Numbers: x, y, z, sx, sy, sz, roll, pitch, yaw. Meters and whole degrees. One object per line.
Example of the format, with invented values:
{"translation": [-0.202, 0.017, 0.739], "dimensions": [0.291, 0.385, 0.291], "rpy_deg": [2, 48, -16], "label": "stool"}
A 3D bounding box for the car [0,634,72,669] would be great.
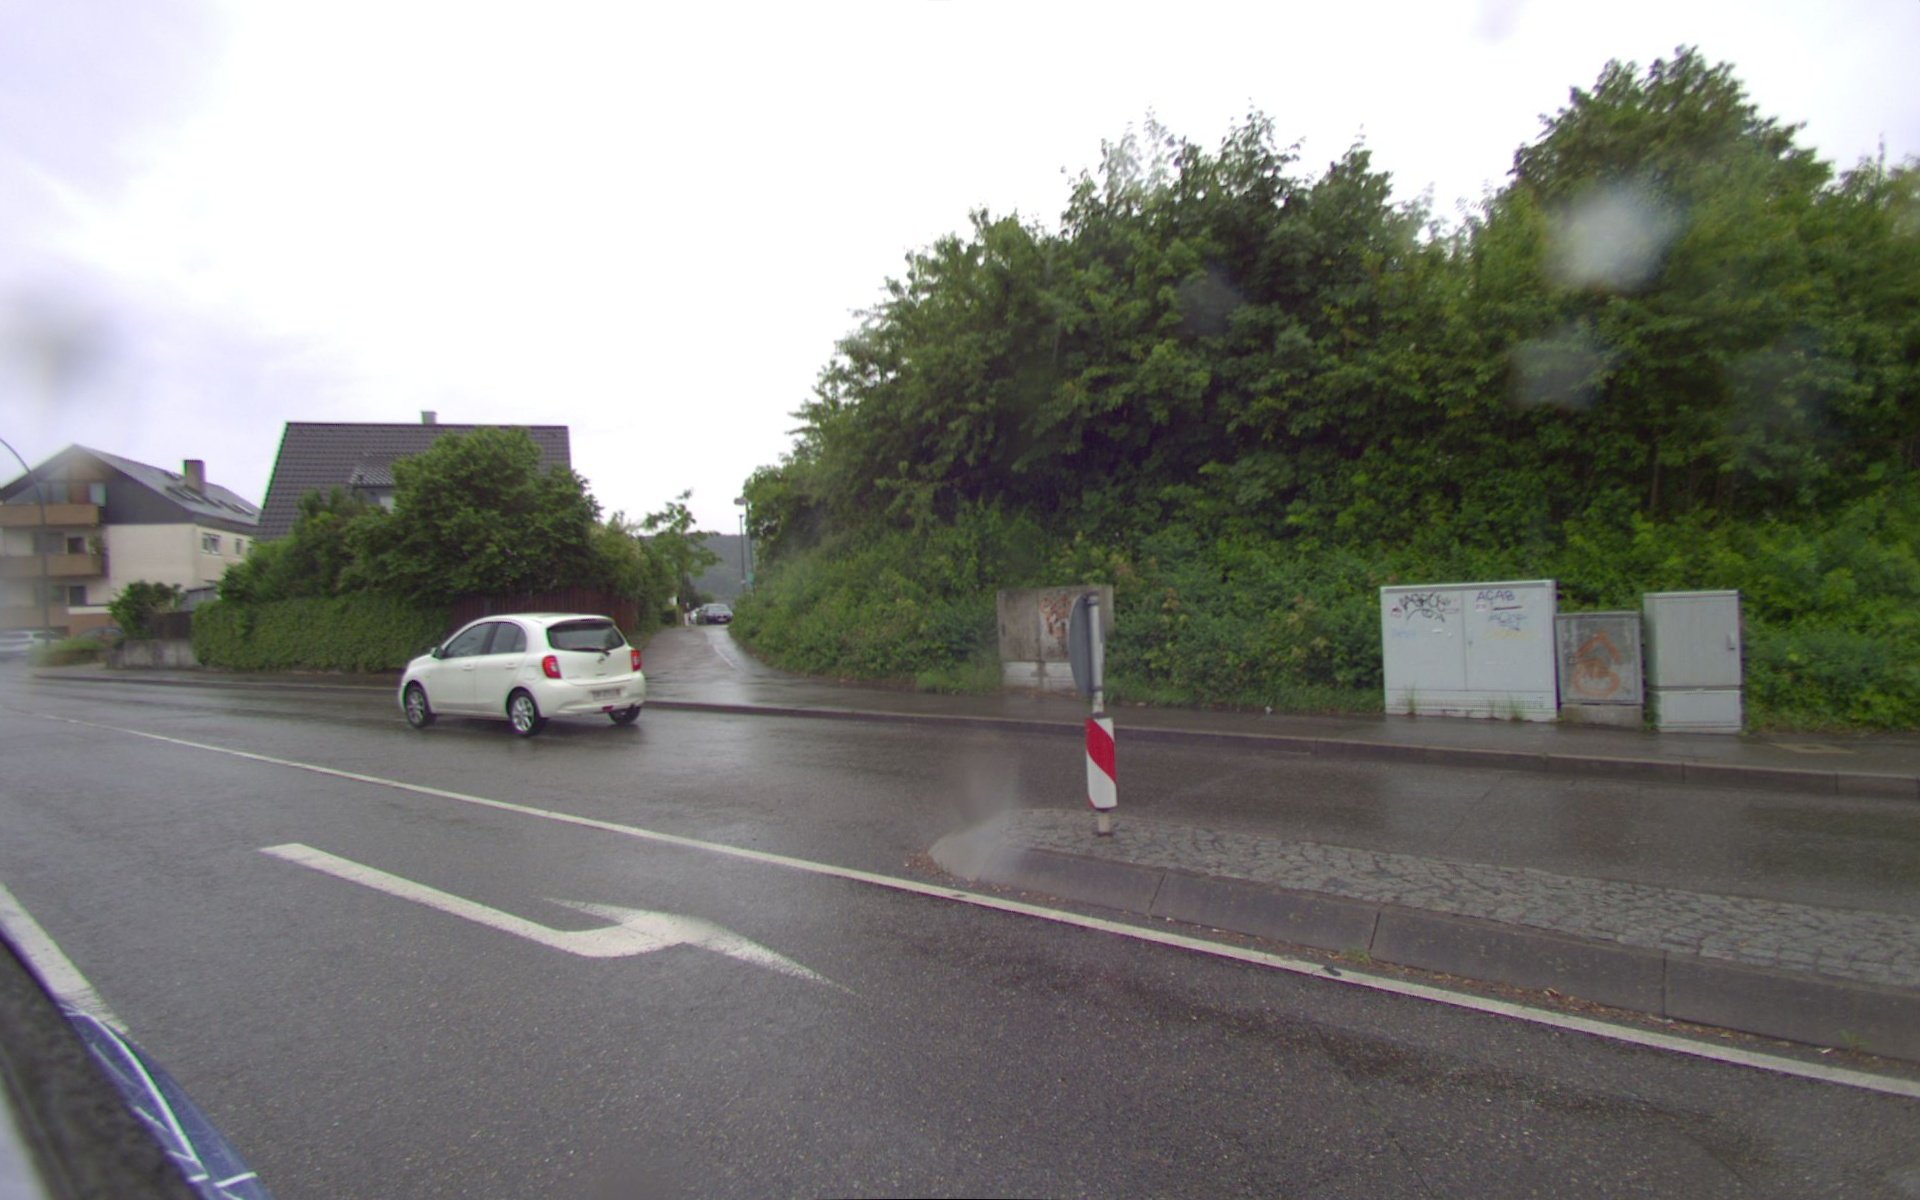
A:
{"translation": [-46.696, 2.549, 50.765], "dimensions": [1.638, 1.558, 4.011], "rpy_deg": [-1, 0, -15], "label": "car"}

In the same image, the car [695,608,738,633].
{"translation": [-15.887, 1.354, 65.986], "dimensions": [1.867, 1.494, 4.013], "rpy_deg": [-1, -1, -26], "label": "car"}

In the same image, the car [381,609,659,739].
{"translation": [-5.970, 0.924, 13.617], "dimensions": [3.811, 1.516, 1.607], "rpy_deg": [-2, -2, 33], "label": "car"}

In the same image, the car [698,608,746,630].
{"translation": [-17.291, 1.357, 73.435], "dimensions": [1.967, 1.497, 4.009], "rpy_deg": [-1, 0, -37], "label": "car"}
